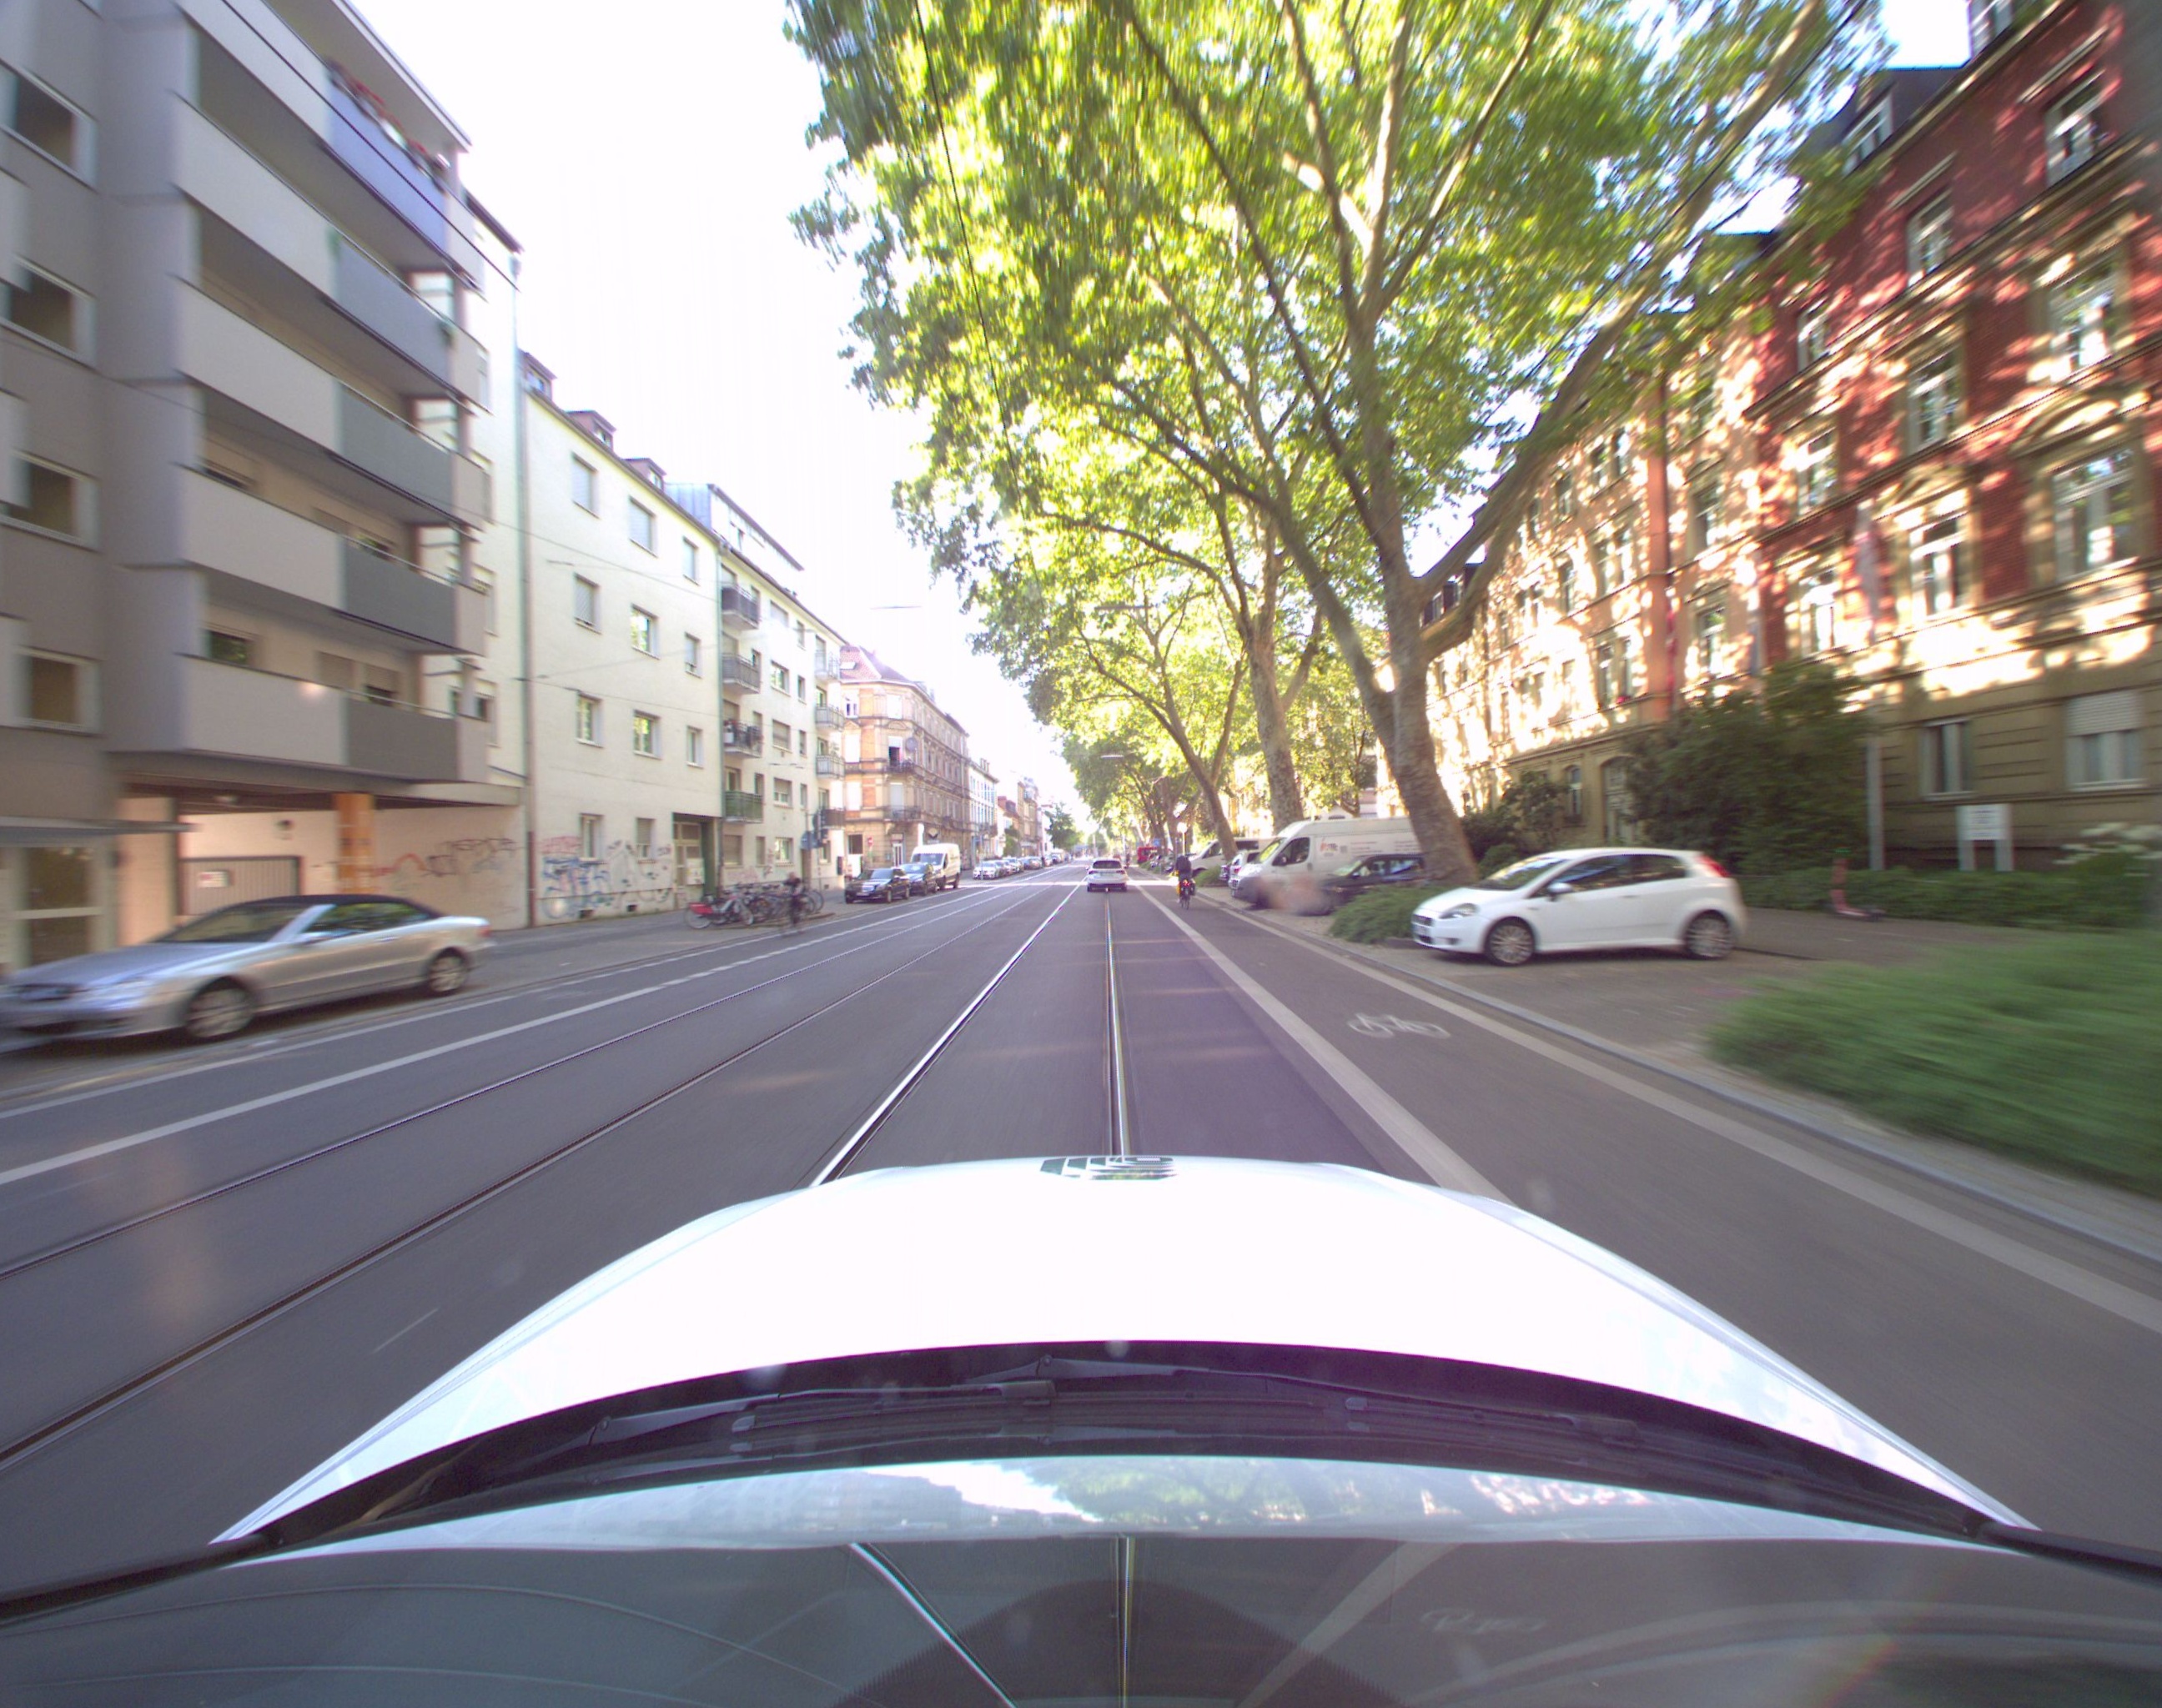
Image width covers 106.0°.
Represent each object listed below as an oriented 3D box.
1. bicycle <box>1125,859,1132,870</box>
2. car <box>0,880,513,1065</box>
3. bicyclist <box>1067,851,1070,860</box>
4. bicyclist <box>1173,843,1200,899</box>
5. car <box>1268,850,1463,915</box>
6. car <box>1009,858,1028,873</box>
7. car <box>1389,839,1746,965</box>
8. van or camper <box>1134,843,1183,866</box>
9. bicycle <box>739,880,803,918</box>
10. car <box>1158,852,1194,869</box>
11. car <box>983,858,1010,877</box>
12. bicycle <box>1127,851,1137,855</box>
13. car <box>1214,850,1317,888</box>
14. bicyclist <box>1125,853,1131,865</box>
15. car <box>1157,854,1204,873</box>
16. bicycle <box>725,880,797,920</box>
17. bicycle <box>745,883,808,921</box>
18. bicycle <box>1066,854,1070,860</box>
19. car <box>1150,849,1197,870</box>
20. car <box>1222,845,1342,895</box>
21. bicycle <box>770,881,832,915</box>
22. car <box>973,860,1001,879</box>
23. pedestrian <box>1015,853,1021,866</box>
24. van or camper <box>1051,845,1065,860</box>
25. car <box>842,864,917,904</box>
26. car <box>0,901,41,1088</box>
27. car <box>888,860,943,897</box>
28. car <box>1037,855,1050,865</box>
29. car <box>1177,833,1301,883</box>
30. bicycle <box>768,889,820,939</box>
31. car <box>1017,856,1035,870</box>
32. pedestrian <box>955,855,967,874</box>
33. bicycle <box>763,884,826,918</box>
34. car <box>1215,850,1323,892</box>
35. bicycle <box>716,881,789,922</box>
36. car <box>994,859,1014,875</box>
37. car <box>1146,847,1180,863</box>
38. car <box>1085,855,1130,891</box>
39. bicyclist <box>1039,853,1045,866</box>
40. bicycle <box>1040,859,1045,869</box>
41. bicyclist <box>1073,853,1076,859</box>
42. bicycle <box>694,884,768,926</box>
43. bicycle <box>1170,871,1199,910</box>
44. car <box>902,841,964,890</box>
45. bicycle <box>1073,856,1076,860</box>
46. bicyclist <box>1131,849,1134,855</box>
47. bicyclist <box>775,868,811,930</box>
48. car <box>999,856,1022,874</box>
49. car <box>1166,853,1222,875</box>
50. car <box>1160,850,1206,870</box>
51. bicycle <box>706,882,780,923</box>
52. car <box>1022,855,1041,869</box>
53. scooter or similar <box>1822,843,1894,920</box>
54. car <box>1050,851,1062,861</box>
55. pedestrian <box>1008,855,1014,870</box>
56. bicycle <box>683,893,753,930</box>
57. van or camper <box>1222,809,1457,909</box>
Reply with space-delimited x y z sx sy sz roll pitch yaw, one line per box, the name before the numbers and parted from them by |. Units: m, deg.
bicycle | 5.396 1.166 92.925 0.677 1.155 2.966 0 0 2
car | -9.420 1.161 9.781 1.683 1.491 4.731 -2 0 2
bicyclist | -2.529 0.296 160.109 0.471 1.636 0.800 -2 0 3
bicyclist | 3.037 0.485 23.557 0.612 1.552 0.936 3 0 2
car | 7.156 0.688 20.786 4.373 1.552 1.783 0 0 0
car | -6.677 1.186 86.997 1.657 1.521 4.063 0 0 0
car | 6.627 0.629 11.444 3.937 1.480 1.690 -3 0 3
van or camper | 9.720 0.011 102.115 5.797 2.518 2.287 -4 1 -1
bicycle | -9.224 1.337 24.249 1.808 1.119 0.425 0 0 8
car | 9.926 0.671 85.441 3.581 1.599 1.541 -2 -1 2
car | -7.353 1.167 71.310 1.735 1.562 4.787 0 0 1
bicycle | 13.870 -0.284 220.884 2.748 0.999 0.595 -1 0 16
car | 7.970 0.628 35.383 4.041 1.460 1.796 -2 0 0
bicyclist | 5.399 0.560 92.856 0.676 1.339 0.525 0 0 2
car | 8.861 0.842 72.682 4.014 1.480 1.681 -3 0 0
bicycle | -9.250 1.335 23.563 1.957 1.119 0.425 0 0 8
bicycle | -9.191 1.452 24.551 1.779 1.119 0.425 0 0 8
bicycle | -2.537 0.587 159.949 0.479 1.086 1.847 -2 0 3
car | 8.901 0.545 78.538 4.249 1.719 1.848 -4 0 -1
car | 7.363 0.571 30.059 3.944 1.655 1.795 -2 -1 -2
bicycle | -8.978 1.405 26.100 1.883 1.038 0.403 0 0 8
car | -7.544 1.242 65.837 1.735 1.492 4.045 0 0 1
pedestrian | -8.448 0.729 109.713 0.757 1.821 0.829 -2 0 -1
van or camper | -4.739 -0.329 168.929 2.207 3.140 7.120 -1 0 4
car | -8.361 1.185 34.154 1.711 1.456 4.576 -2 0 3
car | -9.634 1.163 4.687 1.788 1.491 4.241 -2 0 0
car | -8.044 1.165 39.870 1.713 1.631 4.347 -2 0 0
car | -5.866 0.936 128.519 1.821 1.502 4.687 -1 0 0
car | 8.040 0.192 41.831 5.966 2.282 2.008 -2 1 3
bicycle | -6.745 1.394 19.236 0.415 1.018 1.948 -3 0 2
car | -6.521 1.029 97.089 1.547 1.515 3.929 -2 0 4
pedestrian | -10.729 0.951 72.947 0.656 1.665 0.773 -1 0 33
bicycle | -9.007 1.466 25.581 1.883 1.038 0.403 0 0 8
car | 7.529 0.665 32.827 3.940 1.478 1.796 -2 0 1
bicycle | -9.298 1.335 23.076 1.950 1.119 0.440 0 0 8
car | -7.219 1.208 76.602 1.695 1.420 3.997 0 0 -2
car | 9.870 0.121 97.632 3.807 1.649 1.766 -3 -1 -1
car | 1.114 0.801 35.855 1.836 1.480 3.837 -1 0 0
bicyclist | -4.739 0.686 99.219 0.580 1.482 0.807 -3 0 1
bicycle | -4.697 1.179 99.309 0.419 1.150 2.232 -3 -1 1
bicyclist | -1.709 0.451 210.034 0.635 1.503 1.070 -3 0 3
bicycle | -9.415 1.369 21.908 1.883 1.119 0.403 0 0 8
bicycle | 3.016 1.048 23.939 0.593 1.004 2.512 1 0 2
car | -8.183 0.599 45.527 2.056 2.535 5.672 -2 0 3
bicycle | -1.694 1.060 209.978 0.496 0.943 1.923 -4 0 4
bicyclist | 13.960 -0.626 220.862 0.731 1.589 0.589 -2 0 14
bicyclist | -6.759 1.053 19.147 0.507 1.394 0.709 -4 0 1
car | -7.039 1.111 81.718 1.779 1.723 4.720 0 0 2
car | 8.799 0.770 63.513 4.084 1.491 1.830 -2 0 -1
car | 9.444 0.539 75.491 4.015 1.643 1.681 -3 0 -1
bicycle | -9.337 1.334 22.538 1.920 1.119 0.440 0 0 8
car | -6.159 0.980 102.074 1.849 1.703 4.766 -2 0 3
scooter or similar | 12.888 0.443 13.532 0.273 1.224 1.126 -2 0 11
car | -4.641 0.363 150.586 1.958 1.781 4.937 1 0 0
pedestrian | -9.426 1.094 109.742 0.757 2.013 0.830 -2 0 0
bicycle | -9.497 1.495 21.320 1.621 0.917 0.400 0 0 -15
van or camper | 7.252 0.143 23.348 6.012 2.491 2.107 -2 0 0
